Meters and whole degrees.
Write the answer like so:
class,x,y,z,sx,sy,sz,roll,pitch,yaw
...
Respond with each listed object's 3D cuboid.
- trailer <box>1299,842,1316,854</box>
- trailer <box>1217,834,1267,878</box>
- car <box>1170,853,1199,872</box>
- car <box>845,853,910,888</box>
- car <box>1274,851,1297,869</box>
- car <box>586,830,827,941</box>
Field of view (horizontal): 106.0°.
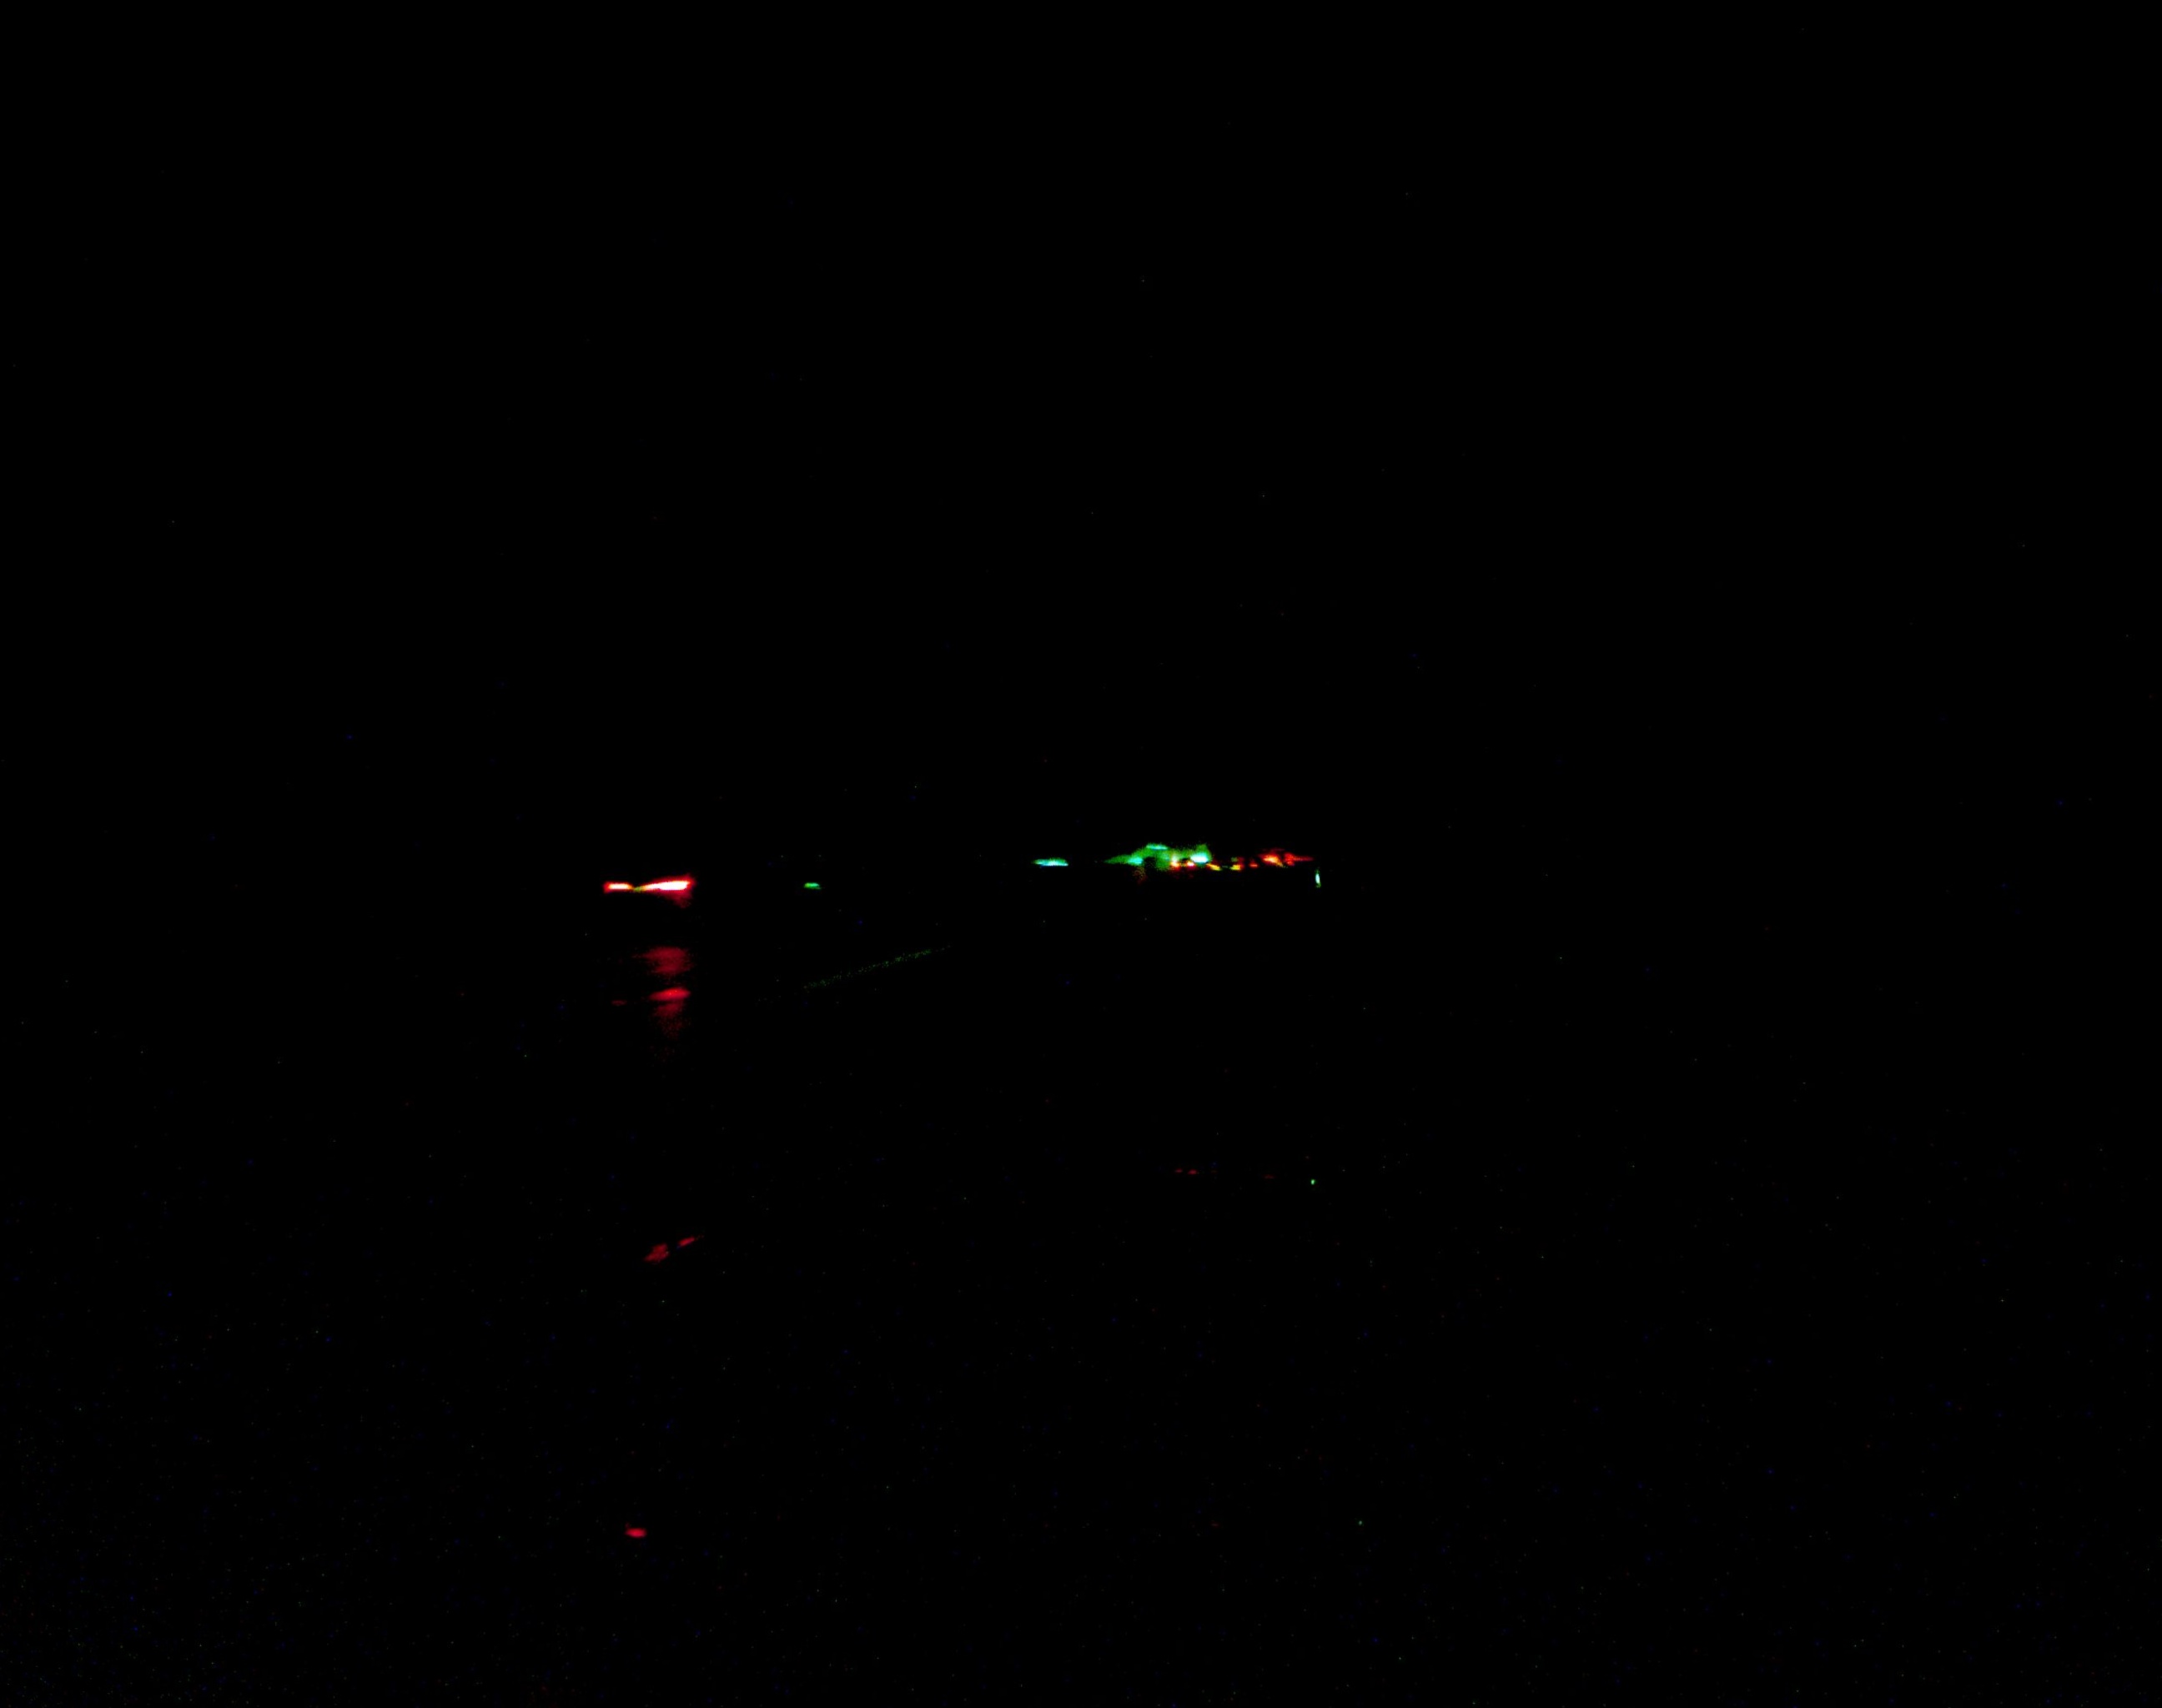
class,x,y,z,sx,sy,sz,roll,pitch,yaw
trailer,53.983,-1.328,193.569,2.664,2.699,12.923,2,0,21
trailer,15.390,0.182,76.952,2.570,3.725,13.719,2,0,19
car,9.462,0.761,74.208,1.978,1.618,4.018,2,0,17
car,-12.635,0.967,50.760,1.977,2.013,4.019,2,0,19
car,22.273,0.619,88.681,1.977,1.818,4.020,2,0,20
car,-7.853,0.582,17.660,1.976,2.013,4.592,2,0,21
